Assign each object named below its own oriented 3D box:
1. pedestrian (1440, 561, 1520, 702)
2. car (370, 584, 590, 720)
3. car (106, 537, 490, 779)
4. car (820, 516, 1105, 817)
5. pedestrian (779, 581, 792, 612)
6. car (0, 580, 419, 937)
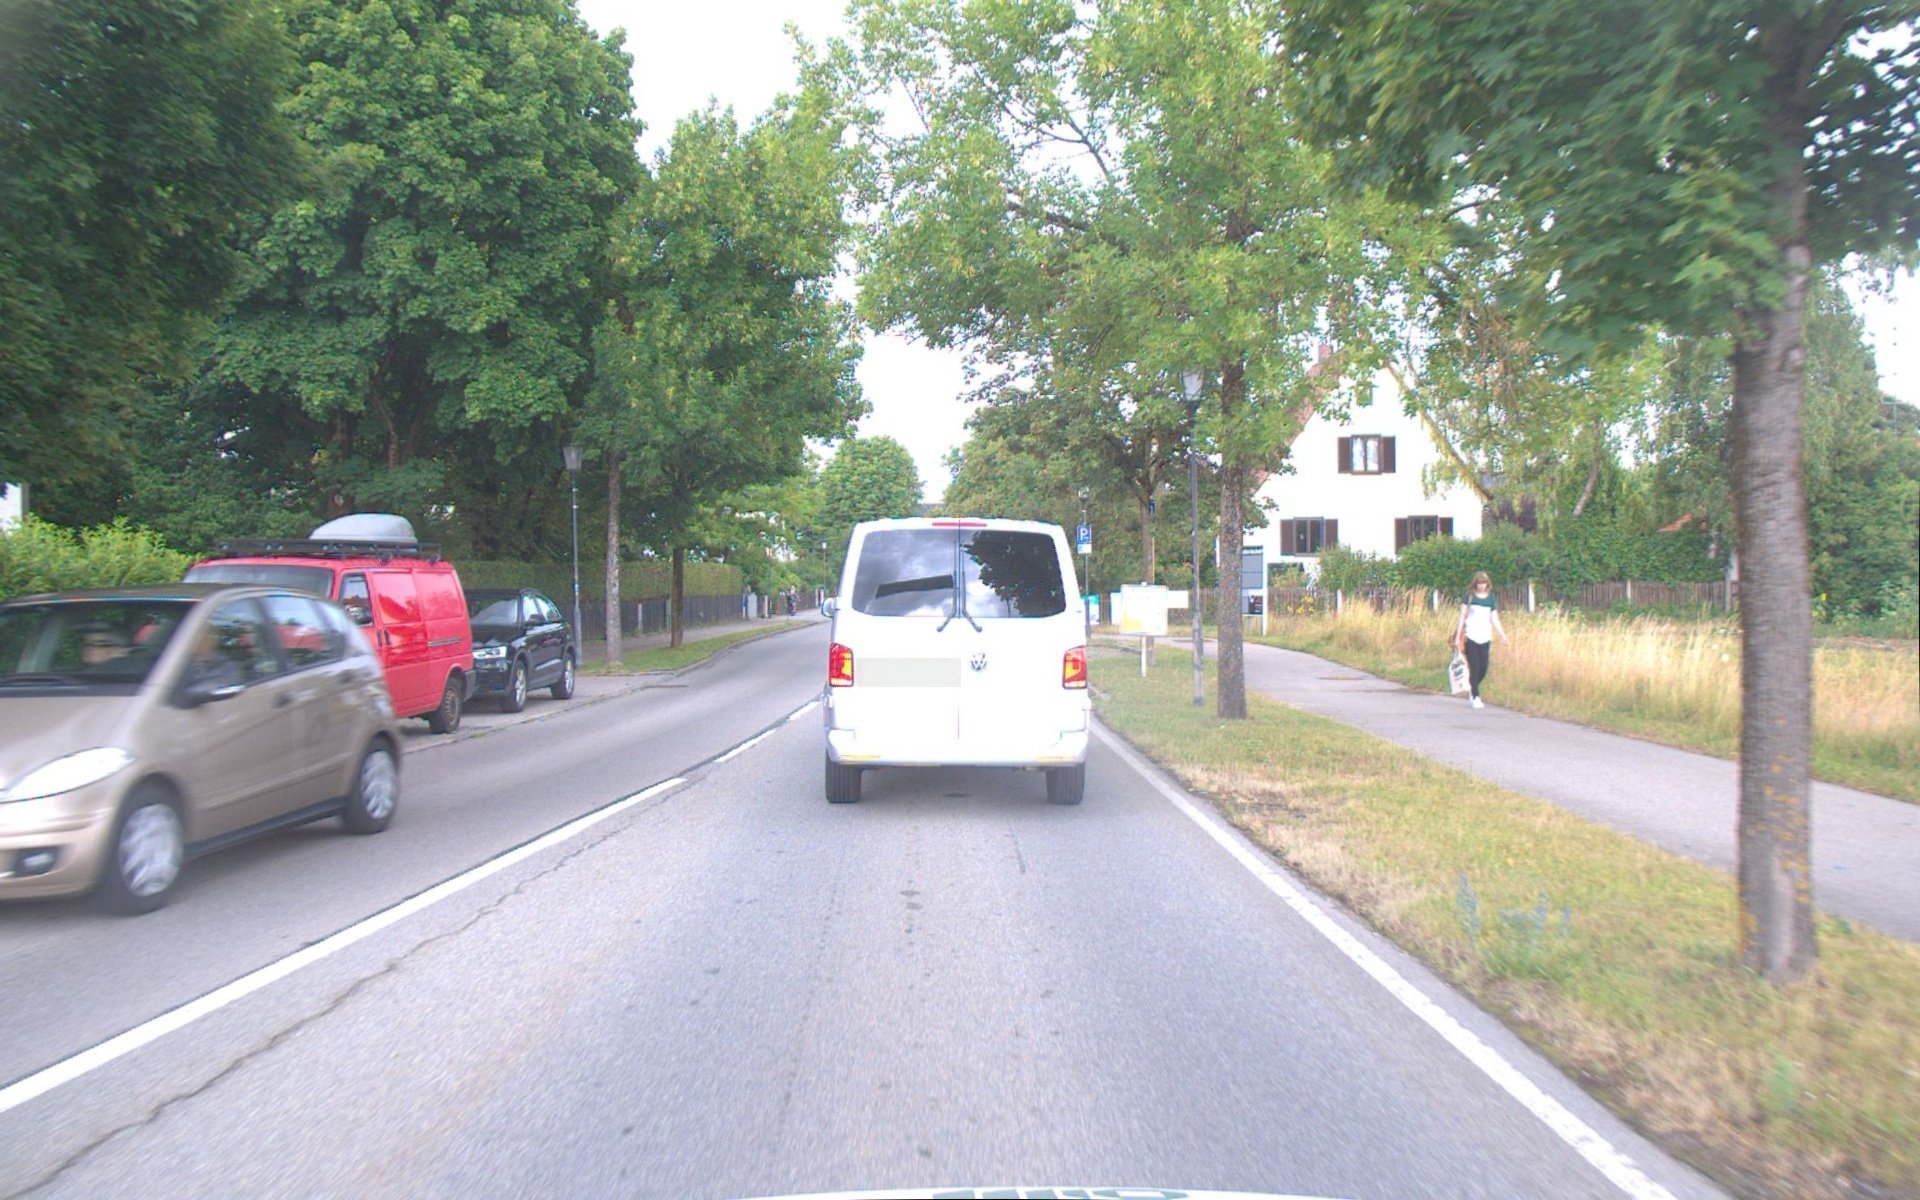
[{"bbox_3d":[6.718,0.395,21.421,0.820,1.785,0.870,0,0,5],"label":"pedestrian"},{"bbox_3d":[-6.405,0.621,22.563,1.735,1.626,4.238,0,1,0],"label":"car"},{"bbox_3d":[-6.440,0.462,16.827,1.792,2.065,5.047,1,1,1],"label":"car"},{"bbox_3d":[0.008,0.418,12.719,1.849,1.945,4.000,0,0,0],"label":"car"},{"bbox_3d":[-8.955,-0.178,84.978,0.610,1.576,0.522,1,0,-4],"label":"pedestrian"},{"bbox_3d":[-4.526,0.713,9.169,1.671,1.559,3.509,-2,1,3],"label":"car"}]
